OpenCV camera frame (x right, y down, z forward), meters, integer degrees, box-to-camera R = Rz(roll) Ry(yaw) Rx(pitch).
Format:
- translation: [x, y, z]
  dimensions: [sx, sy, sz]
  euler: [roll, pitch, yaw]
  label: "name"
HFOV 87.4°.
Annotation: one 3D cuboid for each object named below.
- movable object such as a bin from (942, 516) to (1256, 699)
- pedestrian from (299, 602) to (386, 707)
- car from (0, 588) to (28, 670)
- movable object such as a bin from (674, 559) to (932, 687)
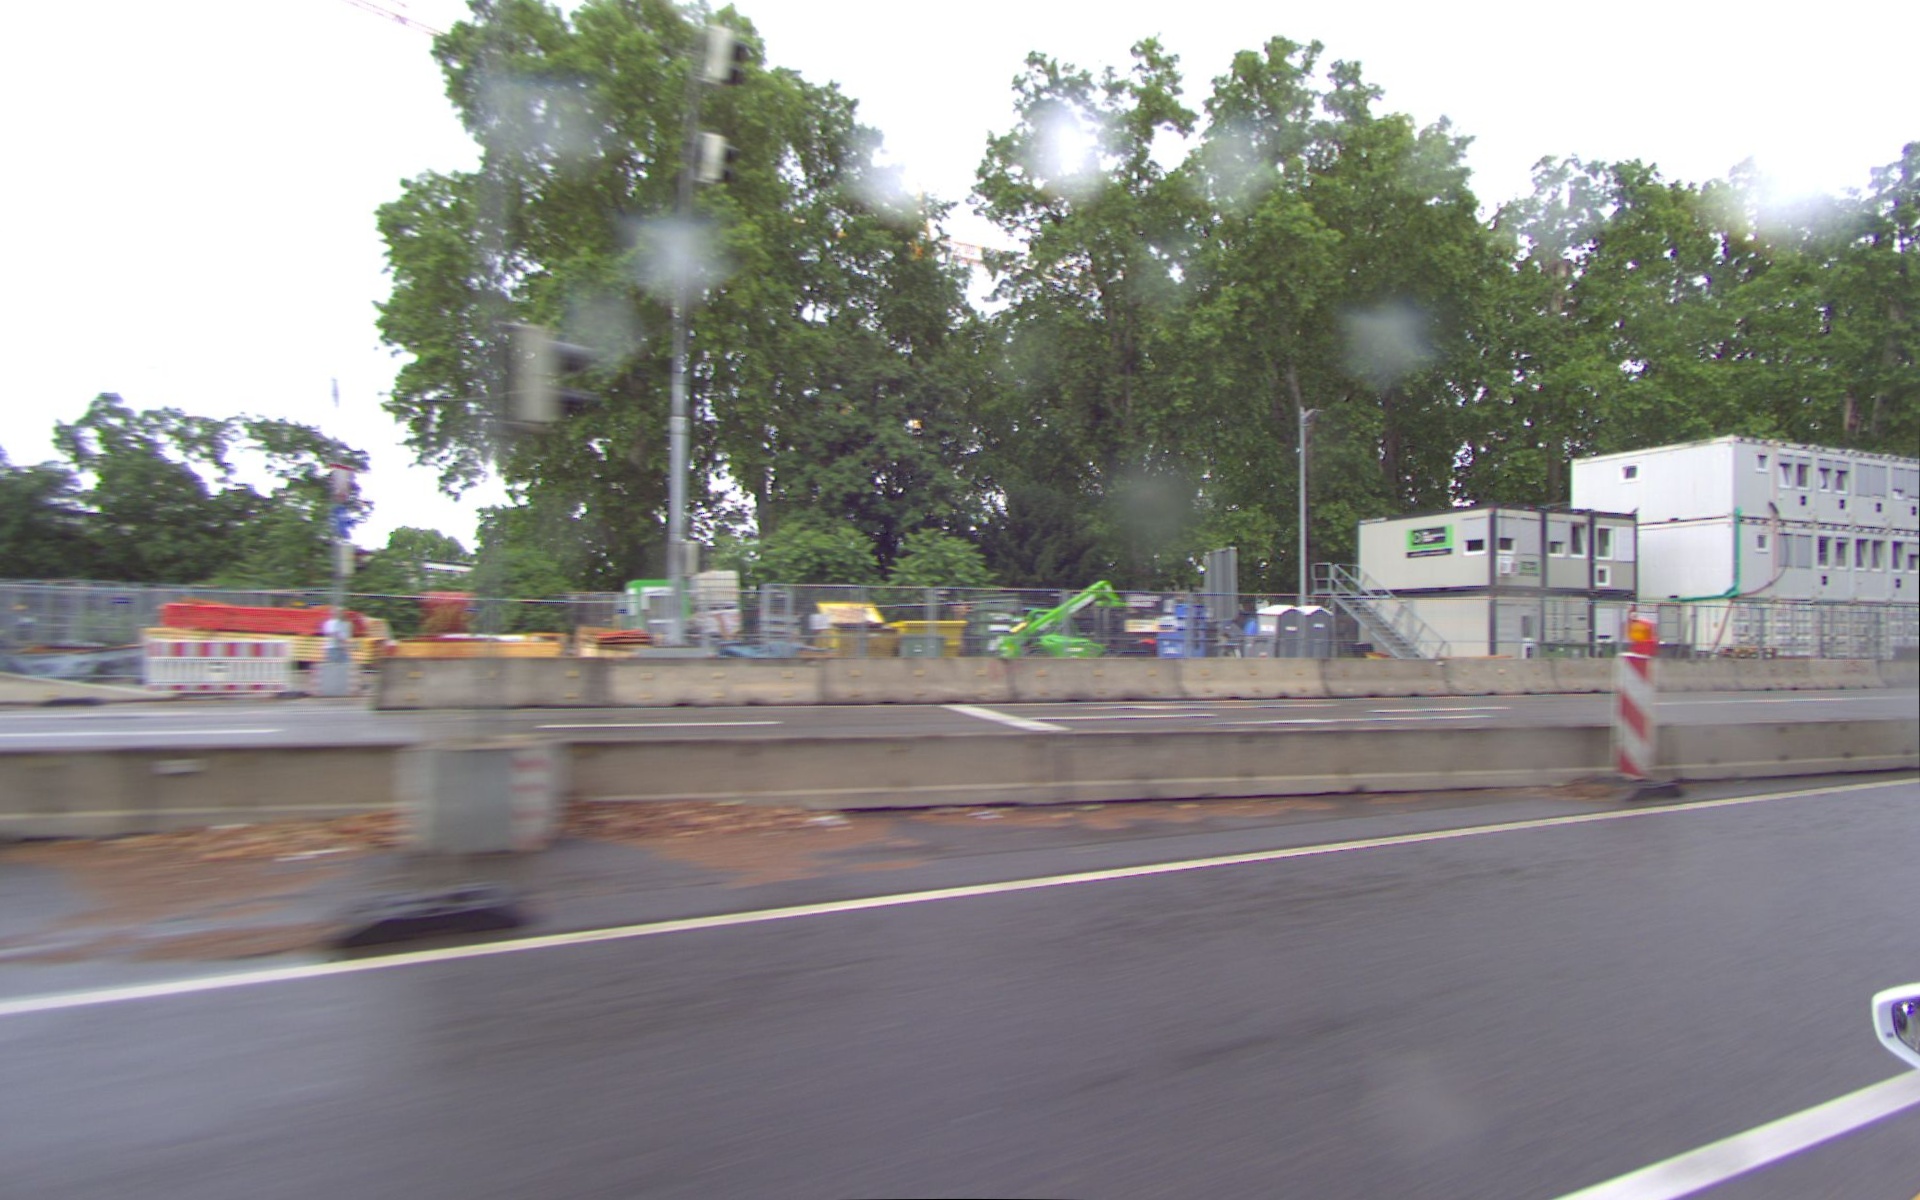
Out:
- translation: [4.151, 0.379, 30.472]
  dimensions: [8.243, 4.866, 4.739]
  euler: [2, -2, -24]
  label: "movable object such as a bin"
- translation: [-12.370, 1.070, 20.178]
  dimensions: [1.164, 2.040, 1.170]
  euler: [1, -1, -16]
  label: "pedestrian"
- translation: [-23.322, 0.587, 21.350]
  dimensions: [4.731, 1.784, 1.840]
  euler: [2, -2, -24]
  label: "car"
- translation: [-4.418, 0.715, 27.882]
  dimensions: [6.299, 3.169, 3.923]
  euler: [2, -2, -24]
  label: "movable object such as a bin"
